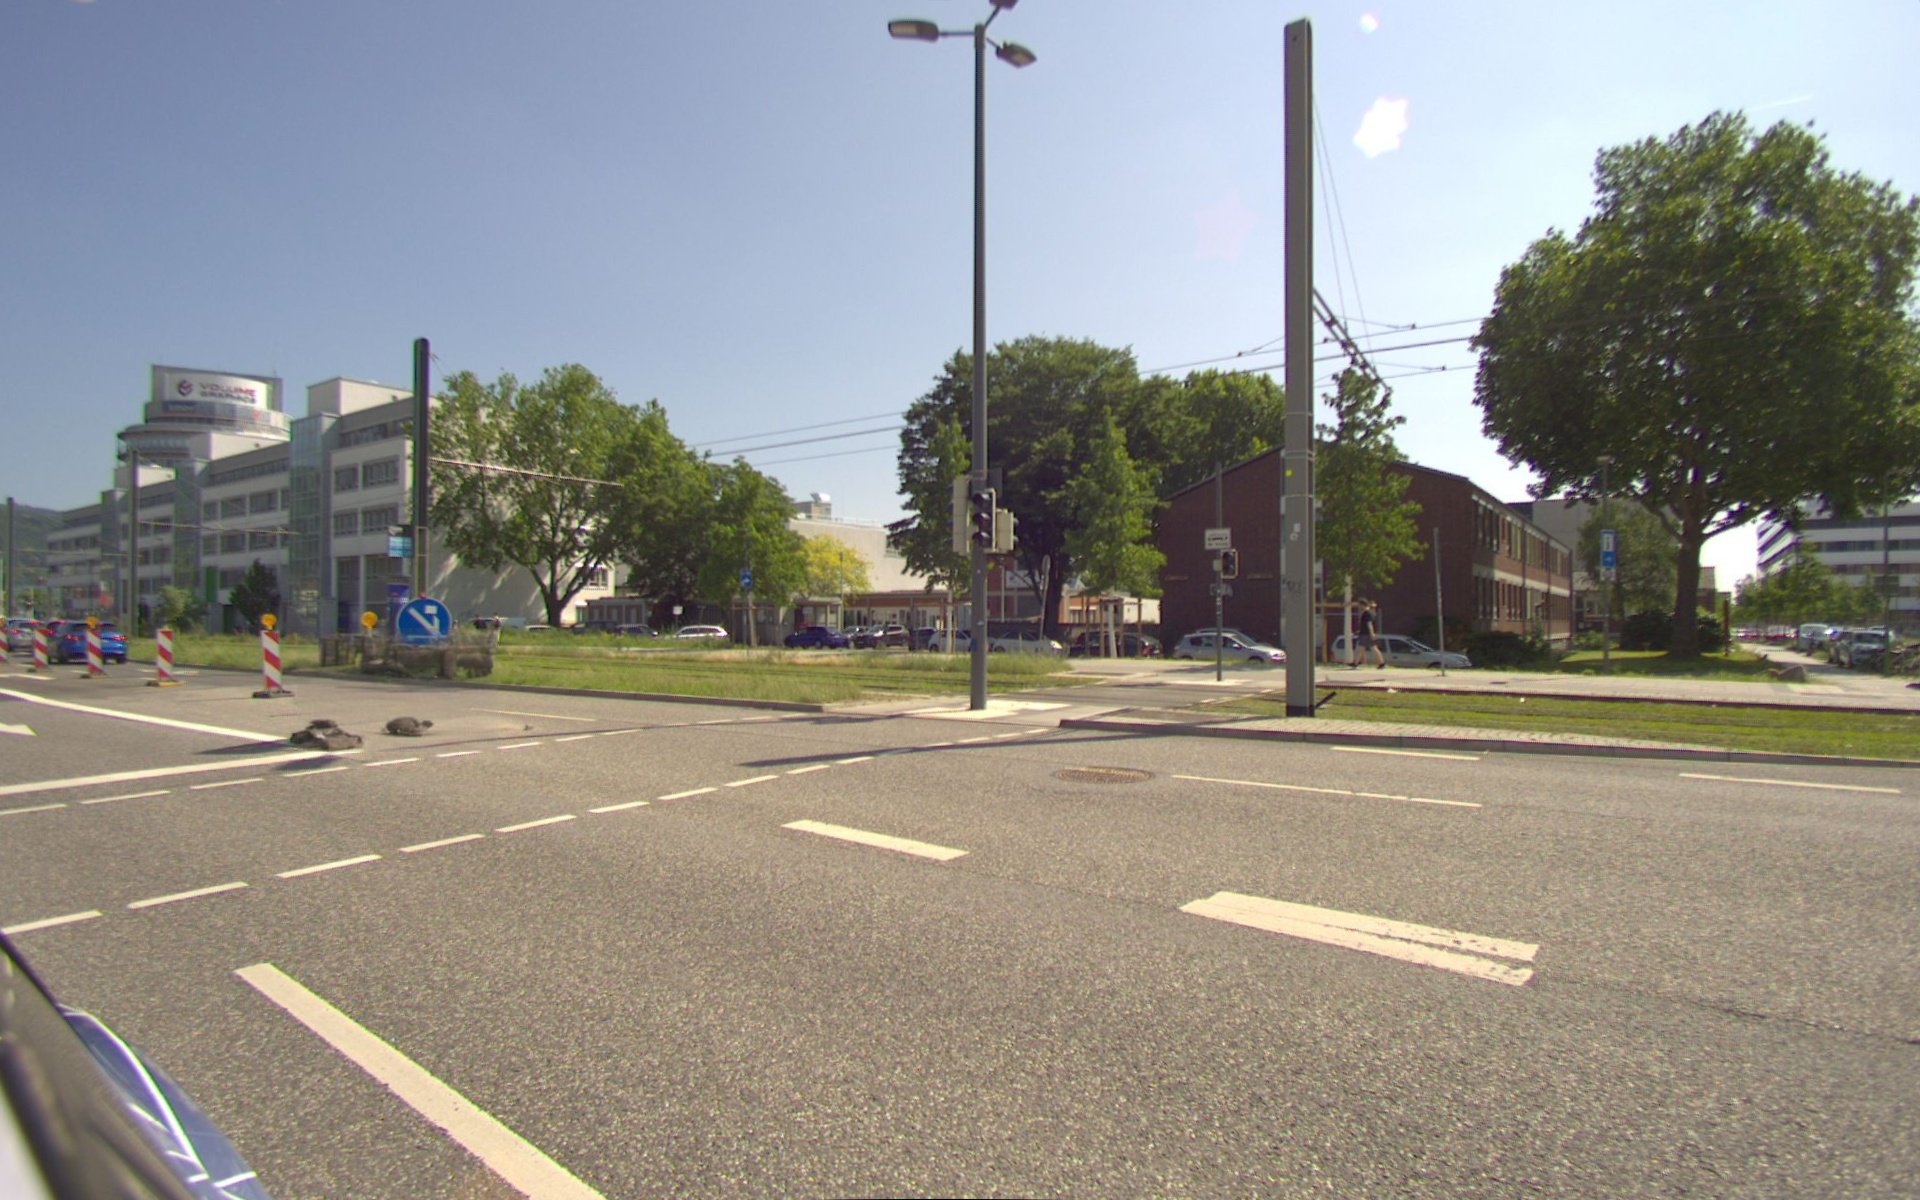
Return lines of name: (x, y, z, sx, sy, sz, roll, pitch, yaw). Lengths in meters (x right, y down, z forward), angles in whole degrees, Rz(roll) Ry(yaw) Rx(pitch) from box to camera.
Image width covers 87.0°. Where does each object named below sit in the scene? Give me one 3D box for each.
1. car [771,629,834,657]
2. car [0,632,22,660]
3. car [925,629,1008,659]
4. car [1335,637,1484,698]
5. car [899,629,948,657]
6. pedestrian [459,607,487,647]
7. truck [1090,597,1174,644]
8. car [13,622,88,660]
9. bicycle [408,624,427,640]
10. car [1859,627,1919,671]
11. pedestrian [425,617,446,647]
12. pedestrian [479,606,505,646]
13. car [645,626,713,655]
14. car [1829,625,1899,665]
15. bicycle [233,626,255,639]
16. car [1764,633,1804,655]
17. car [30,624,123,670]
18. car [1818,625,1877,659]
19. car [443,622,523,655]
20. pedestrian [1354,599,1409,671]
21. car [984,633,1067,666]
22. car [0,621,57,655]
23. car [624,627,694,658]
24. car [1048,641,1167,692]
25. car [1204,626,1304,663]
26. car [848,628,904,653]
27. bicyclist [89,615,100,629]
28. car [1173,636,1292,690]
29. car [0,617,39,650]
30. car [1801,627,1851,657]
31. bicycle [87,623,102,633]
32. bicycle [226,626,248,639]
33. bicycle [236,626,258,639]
car: (-9.819, 2.664, 62.977, 3.625, 1.603, 1.754, -1, 0, 32)
car: (-52.913, 2.488, 55.375, 4.464, 1.454, 1.657, -1, -3, 39)
car: (0.293, 2.259, 52.597, 4.260, 1.468, 1.524, -1, -1, 37)
car: (14.970, 2.182, 33.811, 4.294, 1.774, 1.682, 0, 0, 37)
car: (-2.026, 2.404, 57.321, 1.531, 1.468, 3.728, -1, -1, 19)
pedestrian: (-25.051, 1.392, 52.029, 0.909, 2.029, 0.973, -1, 0, 39)
truck: (16.937, 1.868, 98.720, 2.883, 4.112, 12.492, -1, 0, 35)
car: (-36.775, 1.623, 40.907, 3.994, 1.427, 1.565, -1, -2, 38)
bicycle: (-32.874, 1.938, 61.346, 1.556, 0.993, 0.455, -1, -1, 40)
car: (33.671, 1.725, 36.363, 1.999, 1.413, 3.945, 0, 0, 41)
pedestrian: (-29.167, 1.773, 56.284, 0.826, 1.588, 0.806, -1, -1, 42)
pedestrian: (-24.417, 1.350, 52.800, 0.982, 2.029, 0.831, -1, -1, 39)
car: (-16.288, 2.328, 58.610, 3.625, 1.603, 1.754, -1, 0, 32)
car: (35.957, 1.751, 40.298, 1.999, 1.413, 3.945, 0, 0, 41)
bicycle: (-68.184, 3.122, 96.432, 0.438, 1.198, 1.629, -1, 0, 42)
car: (60.365, 3.220, 74.215, 1.996, 1.413, 3.952, 0, 0, 35)
car: (-29.404, 1.520, 33.649, 4.286, 1.438, 1.612, -1, -3, 39)
car: (41.581, 1.947, 47.448, 1.999, 1.413, 3.945, 0, 0, 41)
car: (-33.377, 2.661, 70.823, 4.988, 2.196, 2.121, 0, -1, -27)
pedestrian: (11.158, 0.905, 26.796, 1.107, 1.861, 0.802, -1, -1, 43)
car: (3.141, 2.361, 49.129, 3.776, 1.468, 1.526, -1, -1, 33)
car: (-42.273, 1.690, 45.776, 4.294, 1.427, 1.563, -1, -2, 41)
car: (-16.689, 2.312, 56.019, 3.625, 1.603, 1.754, -1, 0, 32)
car: (5.874, 2.632, 40.634, 4.523, 1.774, 1.682, 0, 0, 37)
car: (12.410, 1.875, 42.815, 3.781, 1.468, 1.524, -1, -1, 37)
car: (-5.406, 2.583, 64.964, 3.338, 1.464, 1.524, -1, 0, 35)
bicyclist: (-96.384, 2.432, 112.670, 1.075, 1.551, 0.747, 0, 0, 38)
car: (10.042, 2.266, 37.441, 3.933, 1.774, 1.682, 0, 0, 37)
car: (-47.407, 1.658, 50.551, 3.618, 1.542, 1.564, -1, -3, 40)
car: (46.888, 2.236, 54.755, 1.999, 1.413, 3.945, 0, 0, 41)
bicycle: (-96.352, 3.132, 112.660, 2.827, 1.025, 0.747, 0, 0, 38)
bicycle: (-69.346, 3.120, 97.125, 0.521, 1.198, 1.629, -1, 0, 42)
bicycle: (-66.694, 3.040, 94.665, 0.437, 1.198, 1.631, -1, 0, 37)
